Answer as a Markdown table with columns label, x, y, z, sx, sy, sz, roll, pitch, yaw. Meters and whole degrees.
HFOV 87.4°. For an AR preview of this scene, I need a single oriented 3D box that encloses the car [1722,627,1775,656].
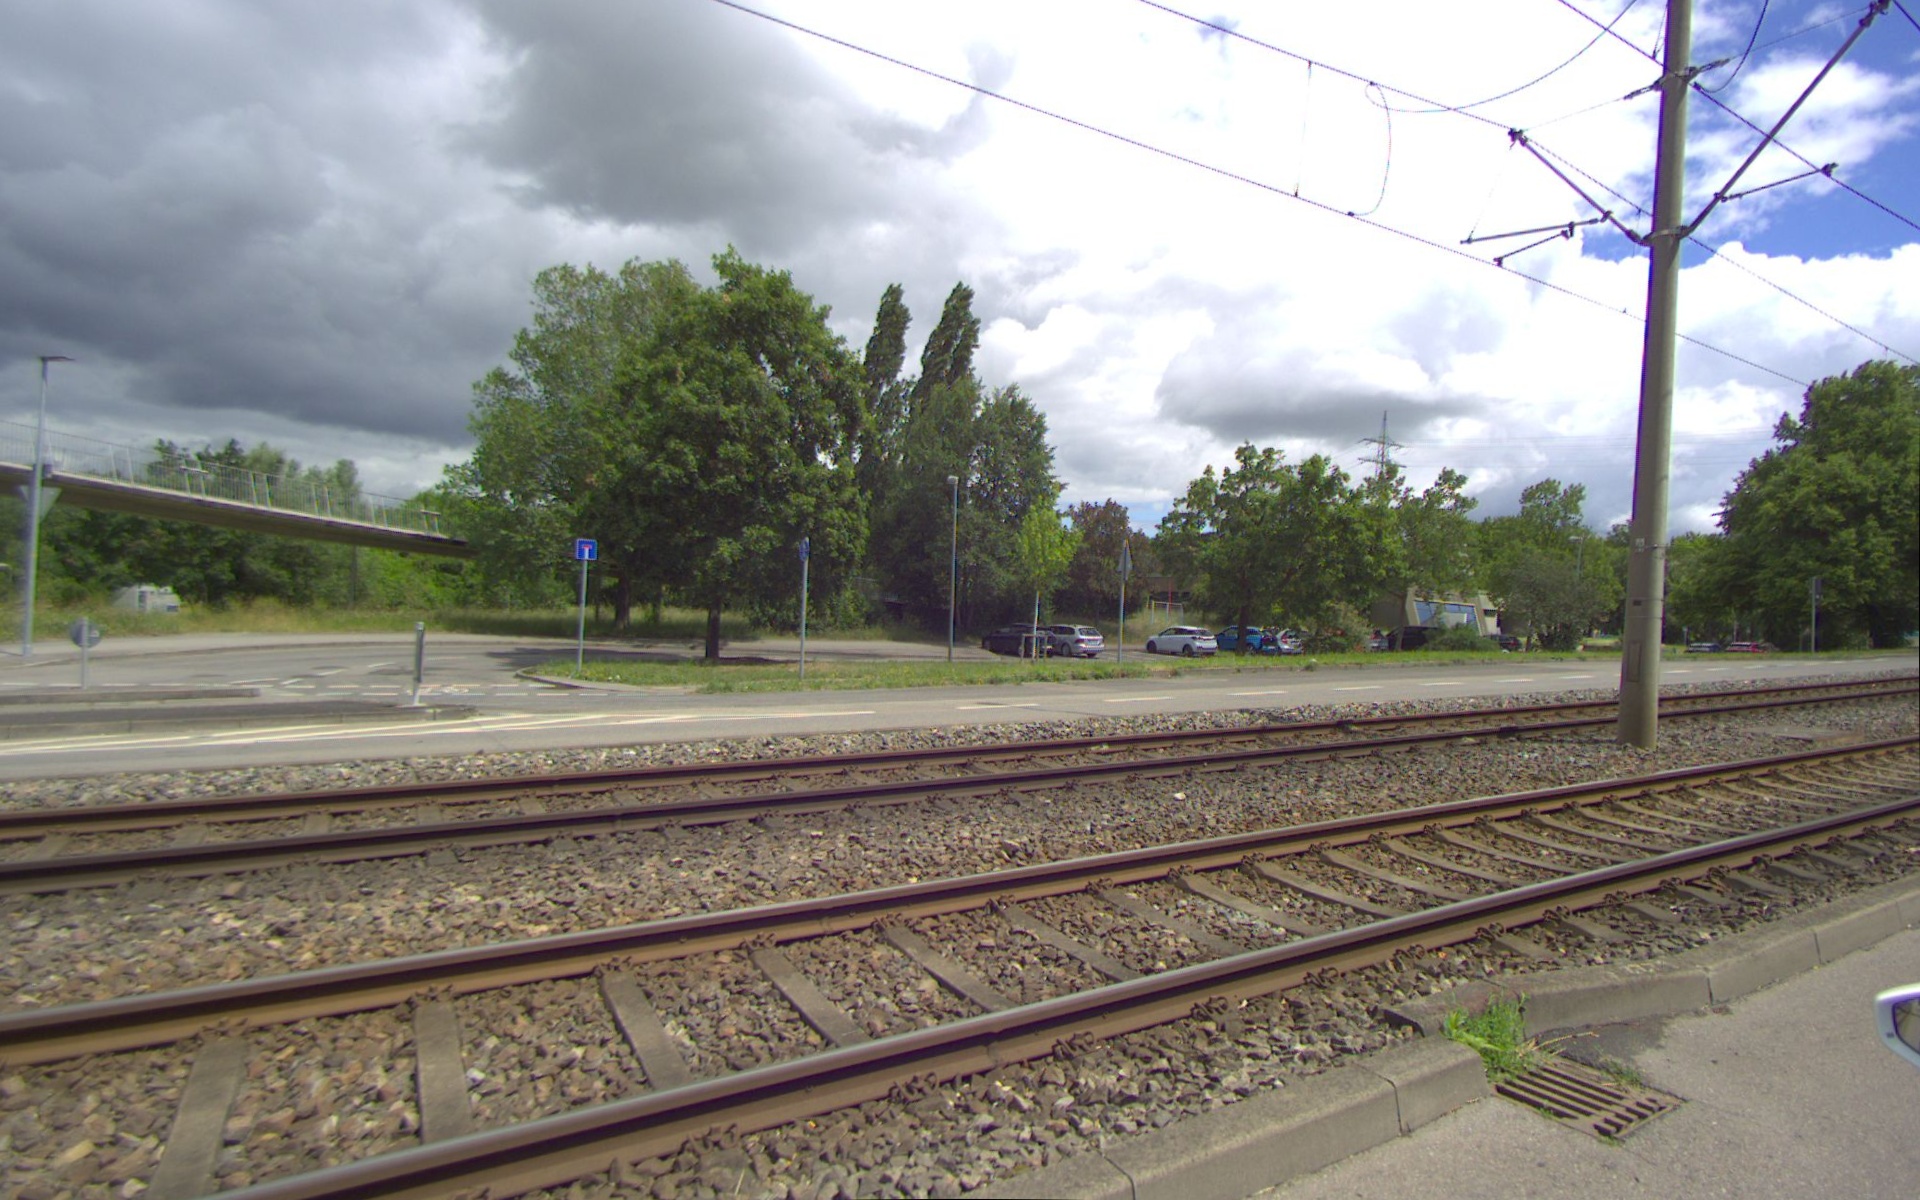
| label | x | y | z | sx | sy | sz | roll | pitch | yaw |
| --- | --- | --- | --- | --- | --- | --- | --- | --- | --- |
| car | 52.804 | 2.760 | 67.253 | 3.961 | 1.795 | 1.804 | 1 | 0 | -36 |

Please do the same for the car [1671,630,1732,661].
| label | x | y | z | sx | sy | sz | roll | pitch | yaw |
| --- | --- | --- | --- | --- | --- | --- | --- | --- | --- |
| car | 46.652 | 2.822 | 63.220 | 3.956 | 1.795 | 1.806 | 0 | 0 | -32 |

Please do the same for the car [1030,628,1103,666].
| label | x | y | z | sx | sy | sz | roll | pitch | yaw |
| --- | --- | --- | --- | --- | --- | --- | --- | --- | --- |
| car | 4.939 | 2.170 | 46.987 | 1.553 | 1.409 | 3.857 | 3 | 0 | -25 |

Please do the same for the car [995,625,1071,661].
| label | x | y | z | sx | sy | sz | roll | pitch | yaw |
| --- | --- | --- | --- | --- | --- | --- | --- | --- | --- |
| car | 3.305 | 1.958 | 46.259 | 1.754 | 1.293 | 3.952 | 3 | 0 | -25 |

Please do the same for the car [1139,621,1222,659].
| label | x | y | z | sx | sy | sz | roll | pitch | yaw |
| --- | --- | --- | --- | --- | --- | --- | --- | --- | --- |
| car | 11.159 | 1.992 | 51.047 | 1.823 | 1.601 | 3.891 | 0 | 2 | -34 |

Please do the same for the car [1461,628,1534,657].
| label | x | y | z | sx | sy | sz | roll | pitch | yaw |
| --- | --- | --- | --- | --- | --- | --- | --- | --- | --- |
| car | 36.399 | 2.864 | 68.101 | 1.834 | 1.620 | 3.973 | 2 | 1 | -26 |

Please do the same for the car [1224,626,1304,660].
| label | x | y | z | sx | sy | sz | roll | pitch | yaw |
| --- | --- | --- | --- | --- | --- | --- | --- | --- | --- |
| car | 16.608 | 2.322 | 55.056 | 1.968 | 1.601 | 3.939 | 0 | 2 | -27 |

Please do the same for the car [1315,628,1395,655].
| label | x | y | z | sx | sy | sz | roll | pitch | yaw |
| --- | --- | --- | --- | --- | --- | --- | --- | --- | --- |
| car | 22.969 | 2.373 | 58.509 | 1.970 | 1.269 | 4.067 | 0 | 2 | -27 |

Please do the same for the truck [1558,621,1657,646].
| label | x | y | z | sx | sy | sz | roll | pitch | yaw |
| --- | --- | --- | --- | --- | --- | --- | --- | --- | --- |
| truck | 72.550 | 3.762 | 112.685 | 8.993 | 2.731 | 2.600 | -1 | -2 | 44 |

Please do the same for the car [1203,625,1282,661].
| label | x | y | z | sx | sy | sz | roll | pitch | yaw |
| --- | --- | --- | --- | --- | --- | --- | --- | --- | --- |
| car | 14.940 | 2.271 | 53.366 | 1.845 | 1.601 | 3.939 | 0 | 2 | -27 |
